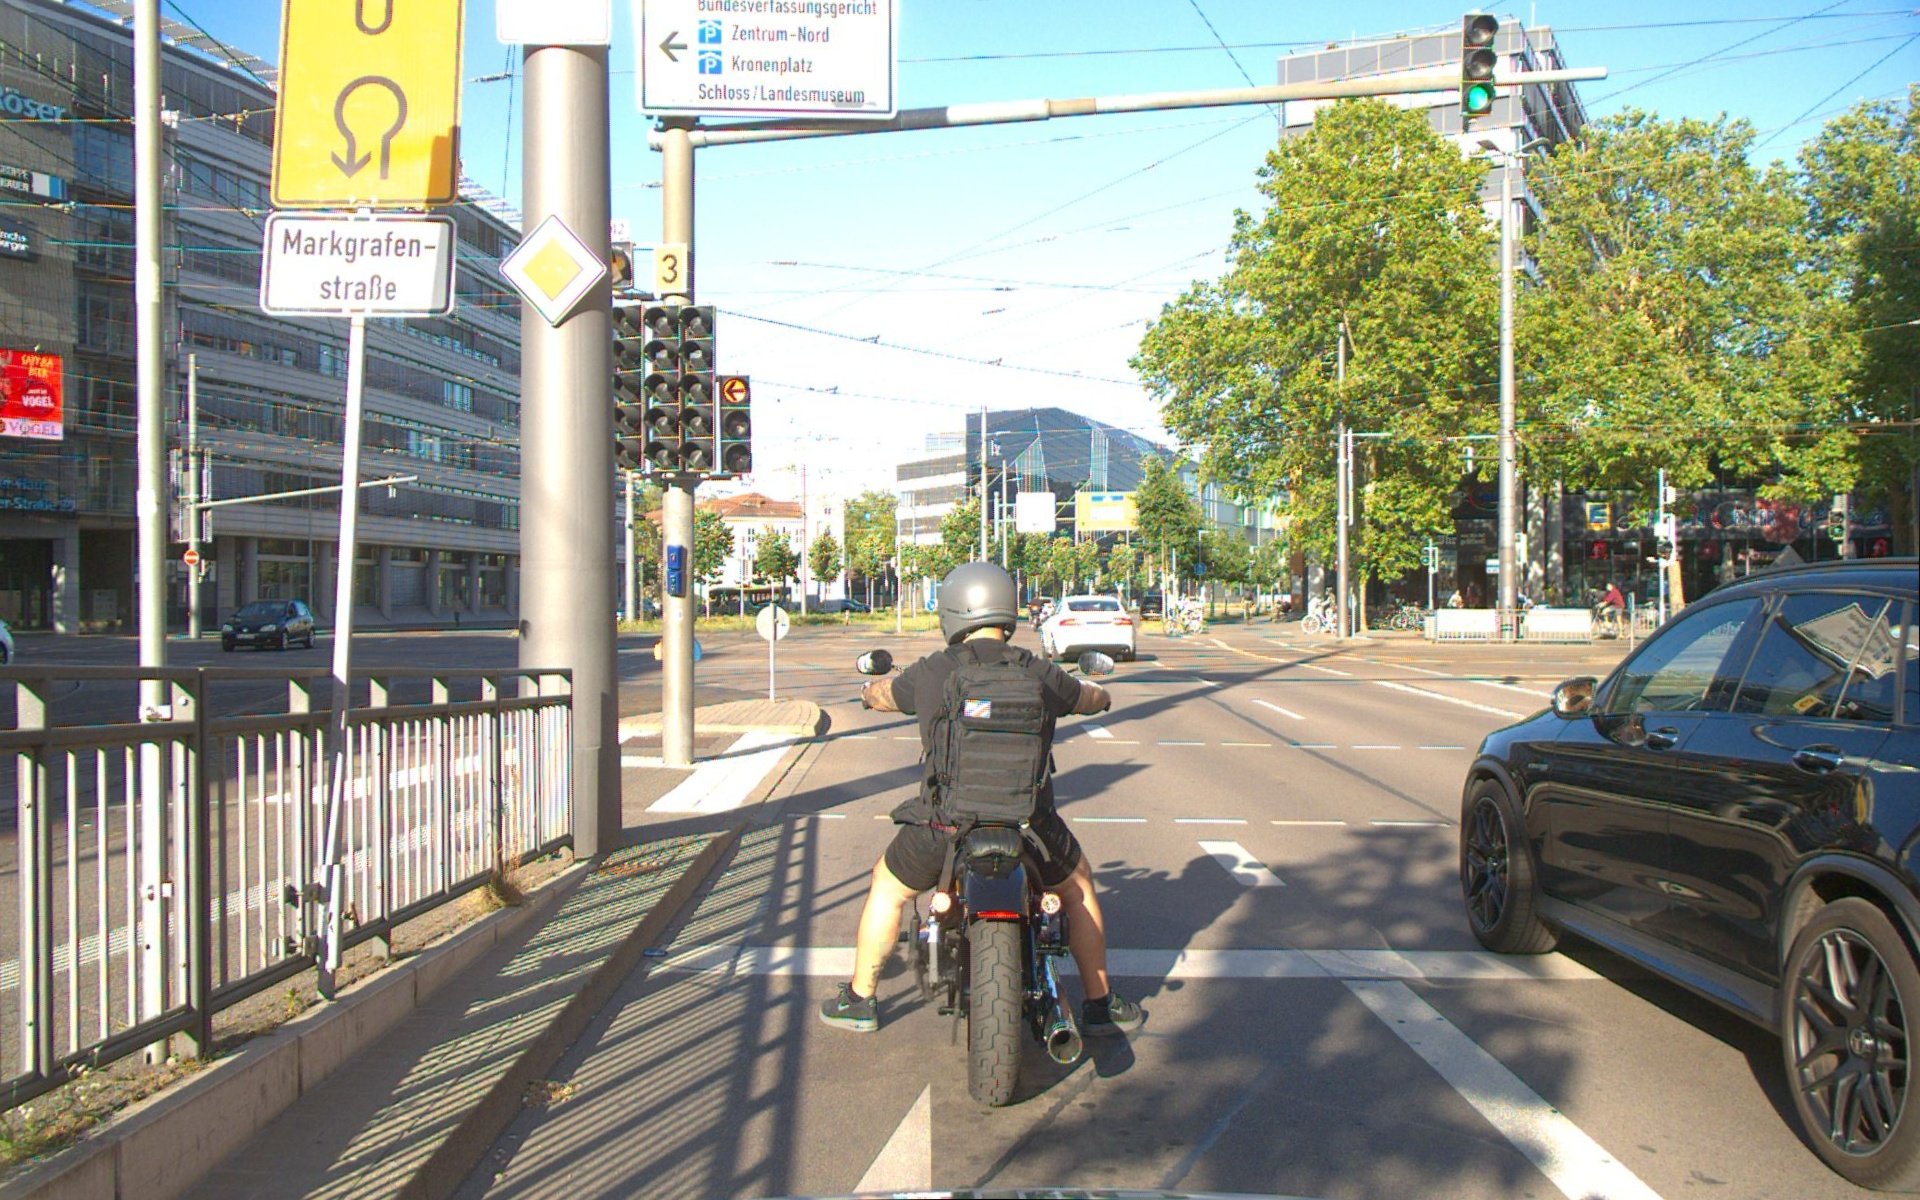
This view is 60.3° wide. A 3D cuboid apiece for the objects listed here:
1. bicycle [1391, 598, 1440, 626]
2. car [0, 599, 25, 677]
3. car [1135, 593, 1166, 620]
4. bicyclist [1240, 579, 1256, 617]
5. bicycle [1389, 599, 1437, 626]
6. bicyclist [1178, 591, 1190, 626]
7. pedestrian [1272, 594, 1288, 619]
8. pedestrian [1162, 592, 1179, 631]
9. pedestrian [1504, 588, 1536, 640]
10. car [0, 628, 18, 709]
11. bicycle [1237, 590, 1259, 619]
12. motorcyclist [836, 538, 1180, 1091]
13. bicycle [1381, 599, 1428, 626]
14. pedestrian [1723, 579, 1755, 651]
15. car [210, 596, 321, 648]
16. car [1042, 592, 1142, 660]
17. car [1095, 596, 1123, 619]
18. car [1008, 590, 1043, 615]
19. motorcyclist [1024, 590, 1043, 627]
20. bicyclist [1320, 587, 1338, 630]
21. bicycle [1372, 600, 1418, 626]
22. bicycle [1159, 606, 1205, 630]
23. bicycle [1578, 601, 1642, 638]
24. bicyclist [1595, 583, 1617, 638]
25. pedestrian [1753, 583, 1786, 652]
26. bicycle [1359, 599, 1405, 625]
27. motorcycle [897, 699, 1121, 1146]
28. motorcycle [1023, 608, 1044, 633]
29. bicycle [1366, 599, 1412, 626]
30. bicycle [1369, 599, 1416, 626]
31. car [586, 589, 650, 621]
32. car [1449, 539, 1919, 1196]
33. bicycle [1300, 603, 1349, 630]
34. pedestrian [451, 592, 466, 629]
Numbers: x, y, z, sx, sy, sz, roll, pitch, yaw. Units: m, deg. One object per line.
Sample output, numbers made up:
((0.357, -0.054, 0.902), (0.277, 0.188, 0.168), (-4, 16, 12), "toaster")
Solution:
((18.178, 0.471, 65.982), (1.842, 1.065, 0.360), (1, -1, -2), "bicycle")
((-18.990, 0.739, 29.994), (1.789, 1.455, 4.525), (0, 0, -5), "car")
((13.020, 0.406, 113.068), (1.694, 1.762, 4.616), (1, 1, 11), "car")
((14.163, -0.105, 81.285), (0.682, 1.840, 0.729), (1, -1, 3), "bicyclist")
((18.279, 0.493, 66.768), (1.842, 1.065, 0.360), (1, -1, -2), "bicycle")
((9.091, 0.349, 67.195), (0.374, 1.397, 0.344), (1, -1, -9), "bicyclist")
((17.576, 0.359, 90.866), (0.802, 1.337, 0.638), (1, -1, 8), "pedestrian")
((8.753, 0.483, 68.863), (0.576, 1.584, 0.488), (1, -1, -9), "pedestrian")
((18.848, 0.467, 55.681), (0.816, 1.734, 0.759), (1, -1, -1), "pedestrian")
((-14.514, 0.904, 22.427), (2.835, 1.081, 1.235), (1, -1, -22), "car")
((14.164, 0.245, 81.407), (0.710, 1.391, 2.918), (1, -1, 3), "bicycle")
((0.137, 0.627, 5.304), (1.009, 1.621, 0.873), (0, 0, -1), "motorcyclist")
((18.164, 0.511, 67.579), (1.842, 1.065, 0.360), (1, -1, -2), "bicycle")
((17.262, 0.335, 36.654), (0.554, 1.559, 0.702), (1, -1, 20), "pedestrian")
((-20.704, 0.654, 49.479), (1.789, 1.455, 4.236), (1, -1, -5), "car")
((2.923, 0.548, 37.504), (1.767, 1.455, 4.451), (0, 0, -2), "car")
((11.536, 0.595, 127.807), (1.765, 1.708, 4.044), (1, -1, 11), "car")
((4.155, 0.195, 104.148), (1.695, 1.482, 4.421), (1, -1, 9), "car")
((3.217, 0.362, 72.182), (0.779, 1.607, 0.529), (1, -1, 5), "motorcyclist")
((14.589, 0.342, 65.389), (0.673, 1.702, 0.541), (0, -1, 18), "bicyclist")
((18.084, 0.532, 68.765), (1.842, 1.065, 0.360), (1, -1, -2), "bicycle")
((9.023, 0.714, 67.184), (1.792, 0.942, 0.357), (1, -1, -9), "bicycle")
((22.359, 0.676, 56.904), (2.001, 1.235, 0.421), (1, -1, -1), "bicycle")
((22.233, 0.360, 56.912), (0.572, 1.870, 0.402), (1, -1, -1), "bicyclist")
((17.896, 0.380, 36.578), (0.554, 1.505, 0.702), (1, -1, 20), "pedestrian")
((18.083, 0.524, 70.903), (1.842, 1.064, 0.360), (1, 0, -2), "bicycle")
((0.116, 0.939, 5.588), (0.588, 1.054, 2.233), (1, 0, -1), "motorcycle")
((3.246, 0.898, 72.502), (0.787, 1.069, 2.377), (1, -1, 5), "motorcycle")
((18.092, 0.522, 69.752), (1.842, 1.064, 0.360), (1, 0, -2), "bicycle")
((18.115, 0.525, 69.252), (1.842, 1.064, 0.360), (1, 0, -2), "bicycle")
((-17.050, 0.266, 82.574), (1.712, 1.550, 4.003), (1, -1, 11), "car")
((3.253, 0.681, 5.625), (1.767, 1.623, 4.452), (2, 0, -1), "car")
((14.414, 0.664, 65.435), (1.831, 1.062, 0.537), (0, -1, 18), "bicycle")
((-28.133, 0.608, 92.770), (0.617, 2.049, 0.754), (1, -1, -1), "pedestrian")
